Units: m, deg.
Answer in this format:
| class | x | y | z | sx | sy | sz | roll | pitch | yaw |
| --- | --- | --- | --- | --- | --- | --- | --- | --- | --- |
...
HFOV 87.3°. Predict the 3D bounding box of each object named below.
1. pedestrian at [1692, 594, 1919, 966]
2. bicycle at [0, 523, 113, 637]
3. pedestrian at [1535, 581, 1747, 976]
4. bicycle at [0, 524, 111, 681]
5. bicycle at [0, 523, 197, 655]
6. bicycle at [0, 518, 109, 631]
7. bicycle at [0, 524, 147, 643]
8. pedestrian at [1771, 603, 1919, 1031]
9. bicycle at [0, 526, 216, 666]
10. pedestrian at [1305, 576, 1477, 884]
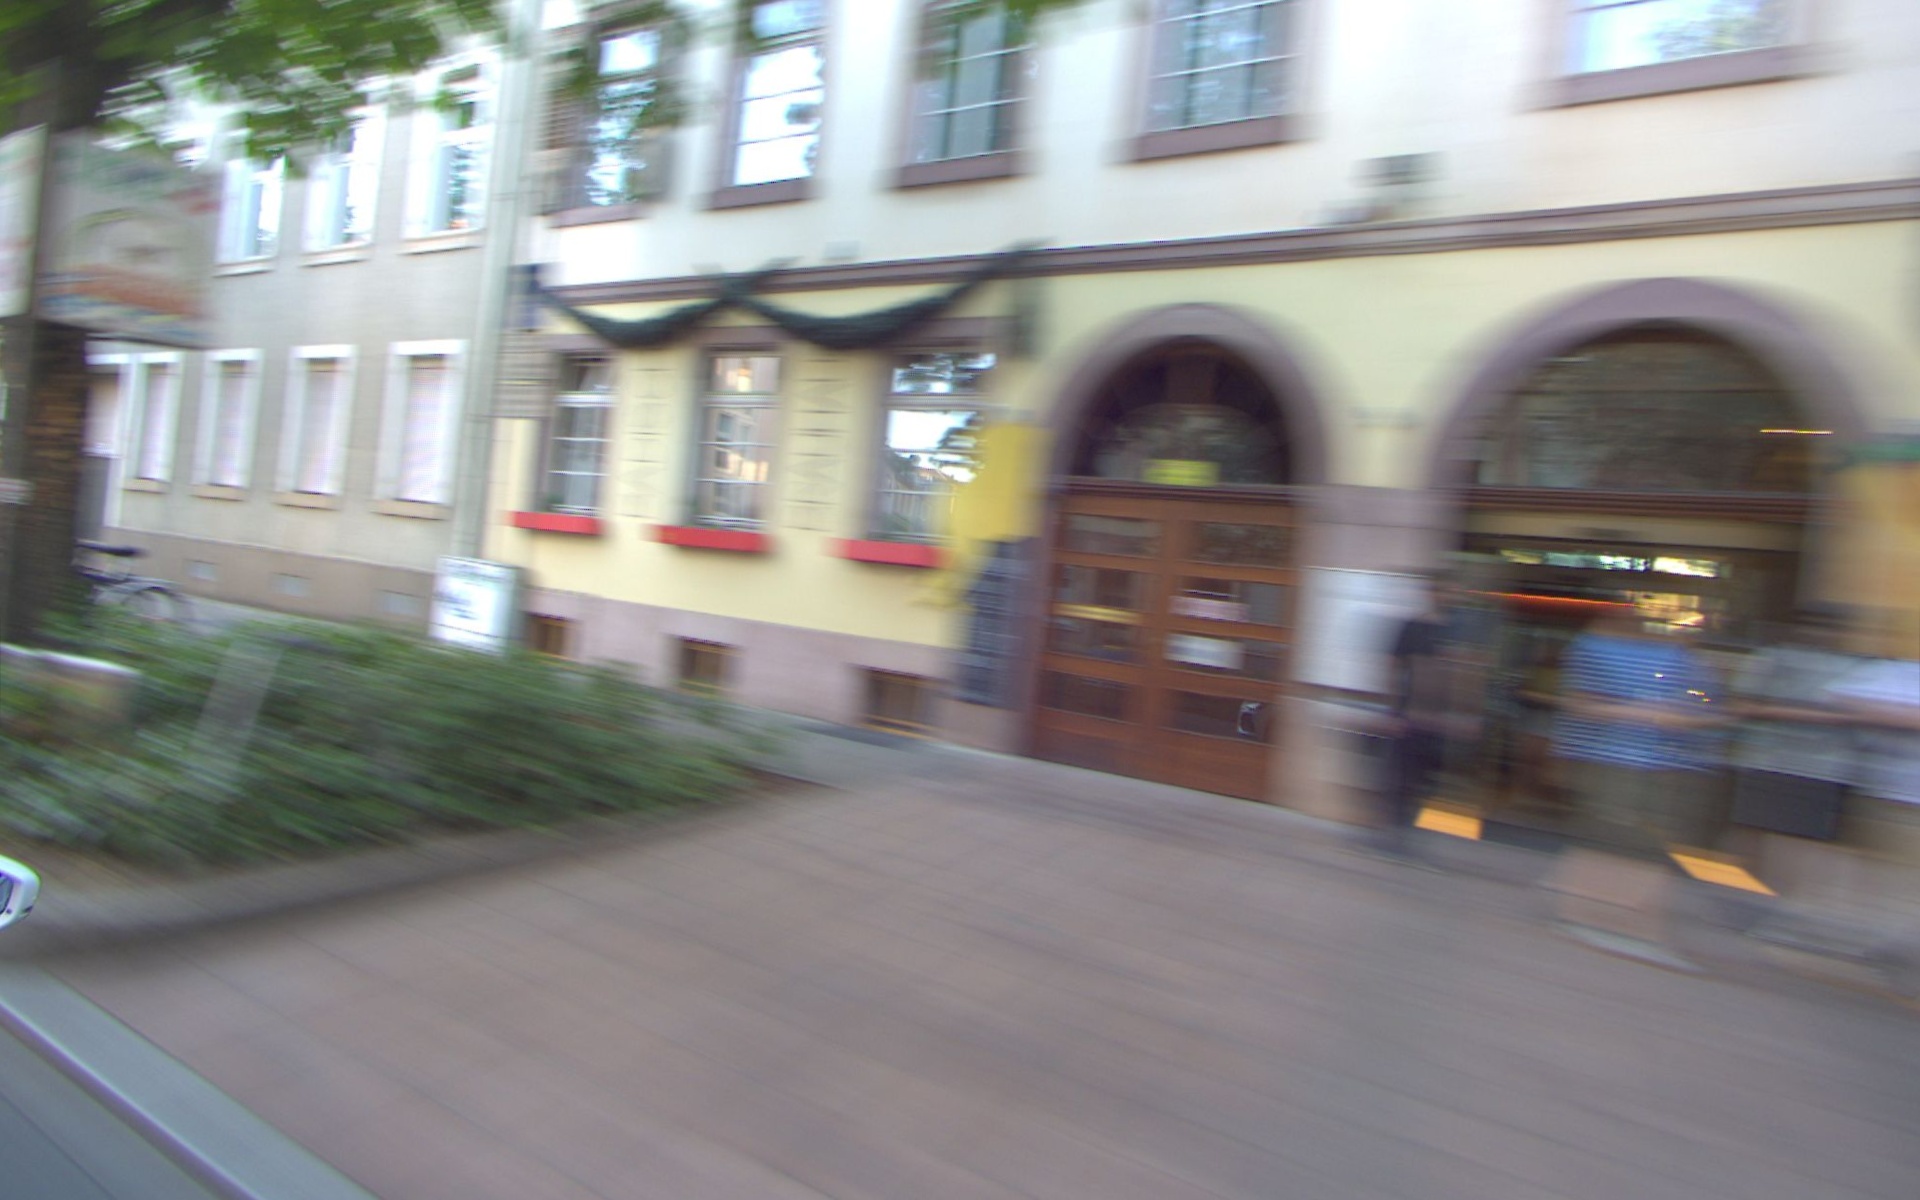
| class | x | y | z | sx | sy | sz | roll | pitch | yaw |
| --- | --- | --- | --- | --- | --- | --- | --- | --- | --- |
| pedestrian | 4.602 | 0.907 | 5.363 | 0.720 | 1.762 | 0.737 | 5 | 3 | -34 |
| bicycle | -9.829 | -0.223 | 10.208 | 0.491 | 1.121 | 1.798 | 7 | 1 | 24 |
| pedestrian | 3.346 | 0.833 | 5.016 | 0.613 | 1.762 | 0.615 | 8 | 3 | 29 |
| bicycle | -7.772 | -0.016 | 7.650 | 0.661 | 1.193 | 1.832 | 7 | 1 | 28 |
| bicycle | -8.576 | -0.095 | 9.702 | 0.639 | 1.157 | 1.799 | 7 | 1 | 20 |
| bicycle | -10.327 | -0.298 | 10.690 | 0.656 | 1.157 | 1.799 | 7 | 1 | 20 |
| bicycle | -9.337 | -0.167 | 10.049 | 0.491 | 1.121 | 1.798 | 7 | 1 | 24 |
| pedestrian | 4.317 | 0.952 | 4.524 | 0.708 | 1.762 | 0.739 | 4 | 3 | -41 |
| bicycle | -7.971 | -0.023 | 9.143 | 0.652 | 1.143 | 1.799 | 7 | 1 | 23 |
| pedestrian | 2.696 | 0.773 | 6.399 | 0.671 | 1.762 | 0.778 | 7 | 2 | 13 |
